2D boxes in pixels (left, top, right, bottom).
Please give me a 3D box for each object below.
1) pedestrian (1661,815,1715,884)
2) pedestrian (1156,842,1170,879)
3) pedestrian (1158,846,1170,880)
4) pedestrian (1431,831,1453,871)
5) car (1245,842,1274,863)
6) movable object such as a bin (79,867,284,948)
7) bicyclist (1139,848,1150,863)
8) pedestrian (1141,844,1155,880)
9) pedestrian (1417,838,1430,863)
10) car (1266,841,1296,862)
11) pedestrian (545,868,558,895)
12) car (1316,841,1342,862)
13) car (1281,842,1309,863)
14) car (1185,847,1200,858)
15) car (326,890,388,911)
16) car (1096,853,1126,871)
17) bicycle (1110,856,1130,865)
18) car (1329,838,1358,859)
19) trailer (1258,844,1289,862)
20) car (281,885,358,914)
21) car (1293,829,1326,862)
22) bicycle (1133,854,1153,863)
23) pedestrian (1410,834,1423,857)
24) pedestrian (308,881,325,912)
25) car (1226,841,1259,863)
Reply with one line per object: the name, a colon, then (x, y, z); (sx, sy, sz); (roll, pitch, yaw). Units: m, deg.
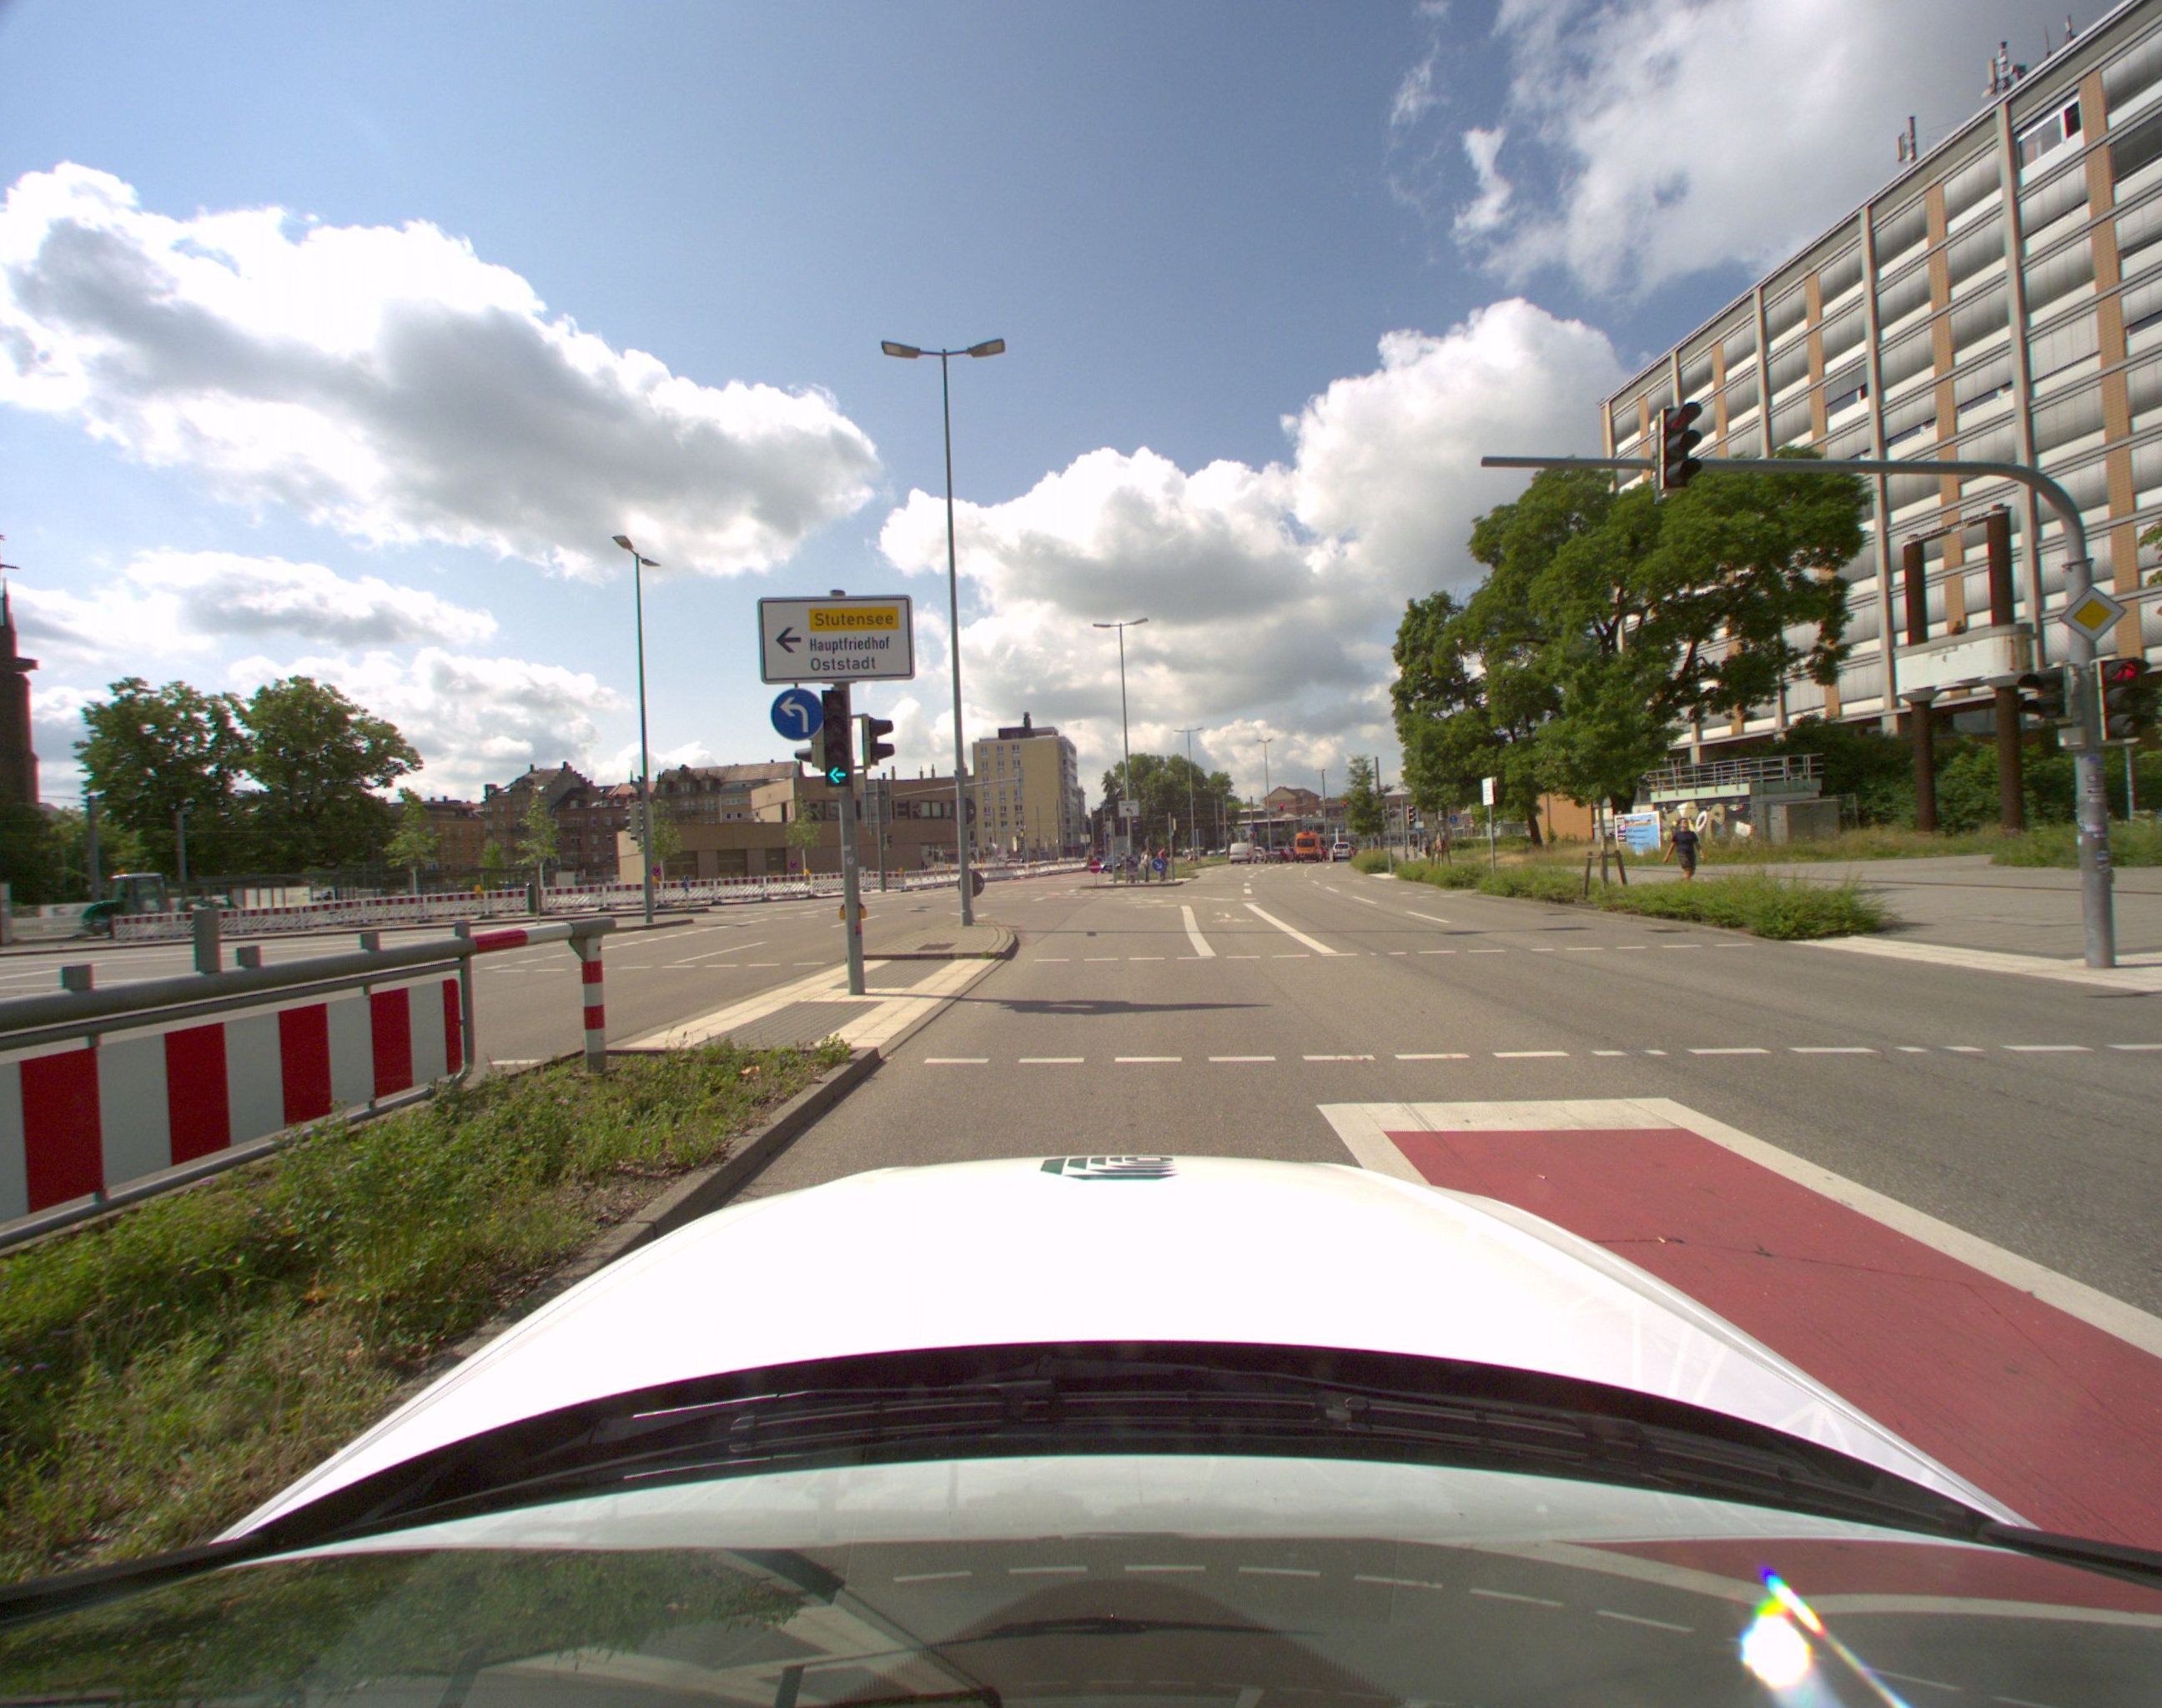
pedestrian: (13.769, -0.109, 18.496); (0.766, 1.508, 0.553); (-3, 0, 4)
pedestrian: (3.953, 0.306, 39.163); (0.521, 1.733, 0.625); (-3, 0, 9)
pedestrian: (4.209, 0.458, 41.280); (0.521, 1.684, 0.625); (-3, 0, 9)
pedestrian: (15.909, -0.137, 35.910); (0.656, 1.733, 0.579); (-3, 0, 7)
car: (18.607, -0.185, 84.952); (1.974, 1.938, 4.665); (-4, 0, 23)
movable object such as a bin: (-37.588, 2.137, 34.264); (2.259, 2.884, 5.577); (-4, -1, 43)
bicyclist: (8.310, 0.204, 106.886); (1.209, 1.909, 0.838); (-3, 0, 20)
pedestrian: (3.312, 0.378, 40.229); (0.521, 1.733, 0.625); (-3, 0, 9)
pedestrian: (25.819, -0.258, 61.417); (0.781, 1.784, 0.670); (-3, 0, 20)
car: (19.269, -0.256, 78.355); (1.975, 1.826, 4.023); (-4, 0, 25)
pedestrian: (-41.272, 2.148, 63.448); (0.706, 2.013, 0.549); (-3, -1, -39)
car: (25.465, -0.286, 83.464); (1.974, 1.938, 4.665); (-4, 0, 23)
car: (22.178, -0.186, 84.384); (1.974, 1.938, 4.665); (-4, 0, 23)
car: (14.619, -0.224, 106.620); (1.650, 1.480, 4.076); (0, 1, 13)
car: (-73.554, 4.679, 82.771); (4.385, 1.793, 1.766); (-3, 0, -31)
car: (2.583, 0.674, 68.934); (1.780, 1.388, 4.241); (-3, 0, 12)
bicycle: (4.893, 0.823, 102.254); (2.359, 1.066, 0.863); (-3, 0, 20)
car: (24.661, -0.490, 76.495); (1.975, 1.795, 4.023); (-4, 0, 25)
trailer: (17.770, -0.096, 75.005); (1.975, 1.477, 4.023); (-4, 0, 25)
car: (-59.295, 3.524, 63.527); (4.202, 1.882, 1.782); (-3, 0, -40)
car: (21.235, -0.802, 75.583); (2.111, 2.780, 4.665); (-4, 0, 23)
bicycle: (8.122, 0.647, 106.960); (2.359, 1.066, 0.847); (-3, 0, 20)
pedestrian: (27.251, -0.680, 66.219); (0.780, 1.784, 0.671); (-3, 0, 32)
pedestrian: (-51.817, 2.884, 55.206); (0.767, 2.013, 0.741); (-2, -1, -41)
car: (15.442, -0.230, 77.726); (1.988, 1.966, 4.665); (-4, 0, 23)
